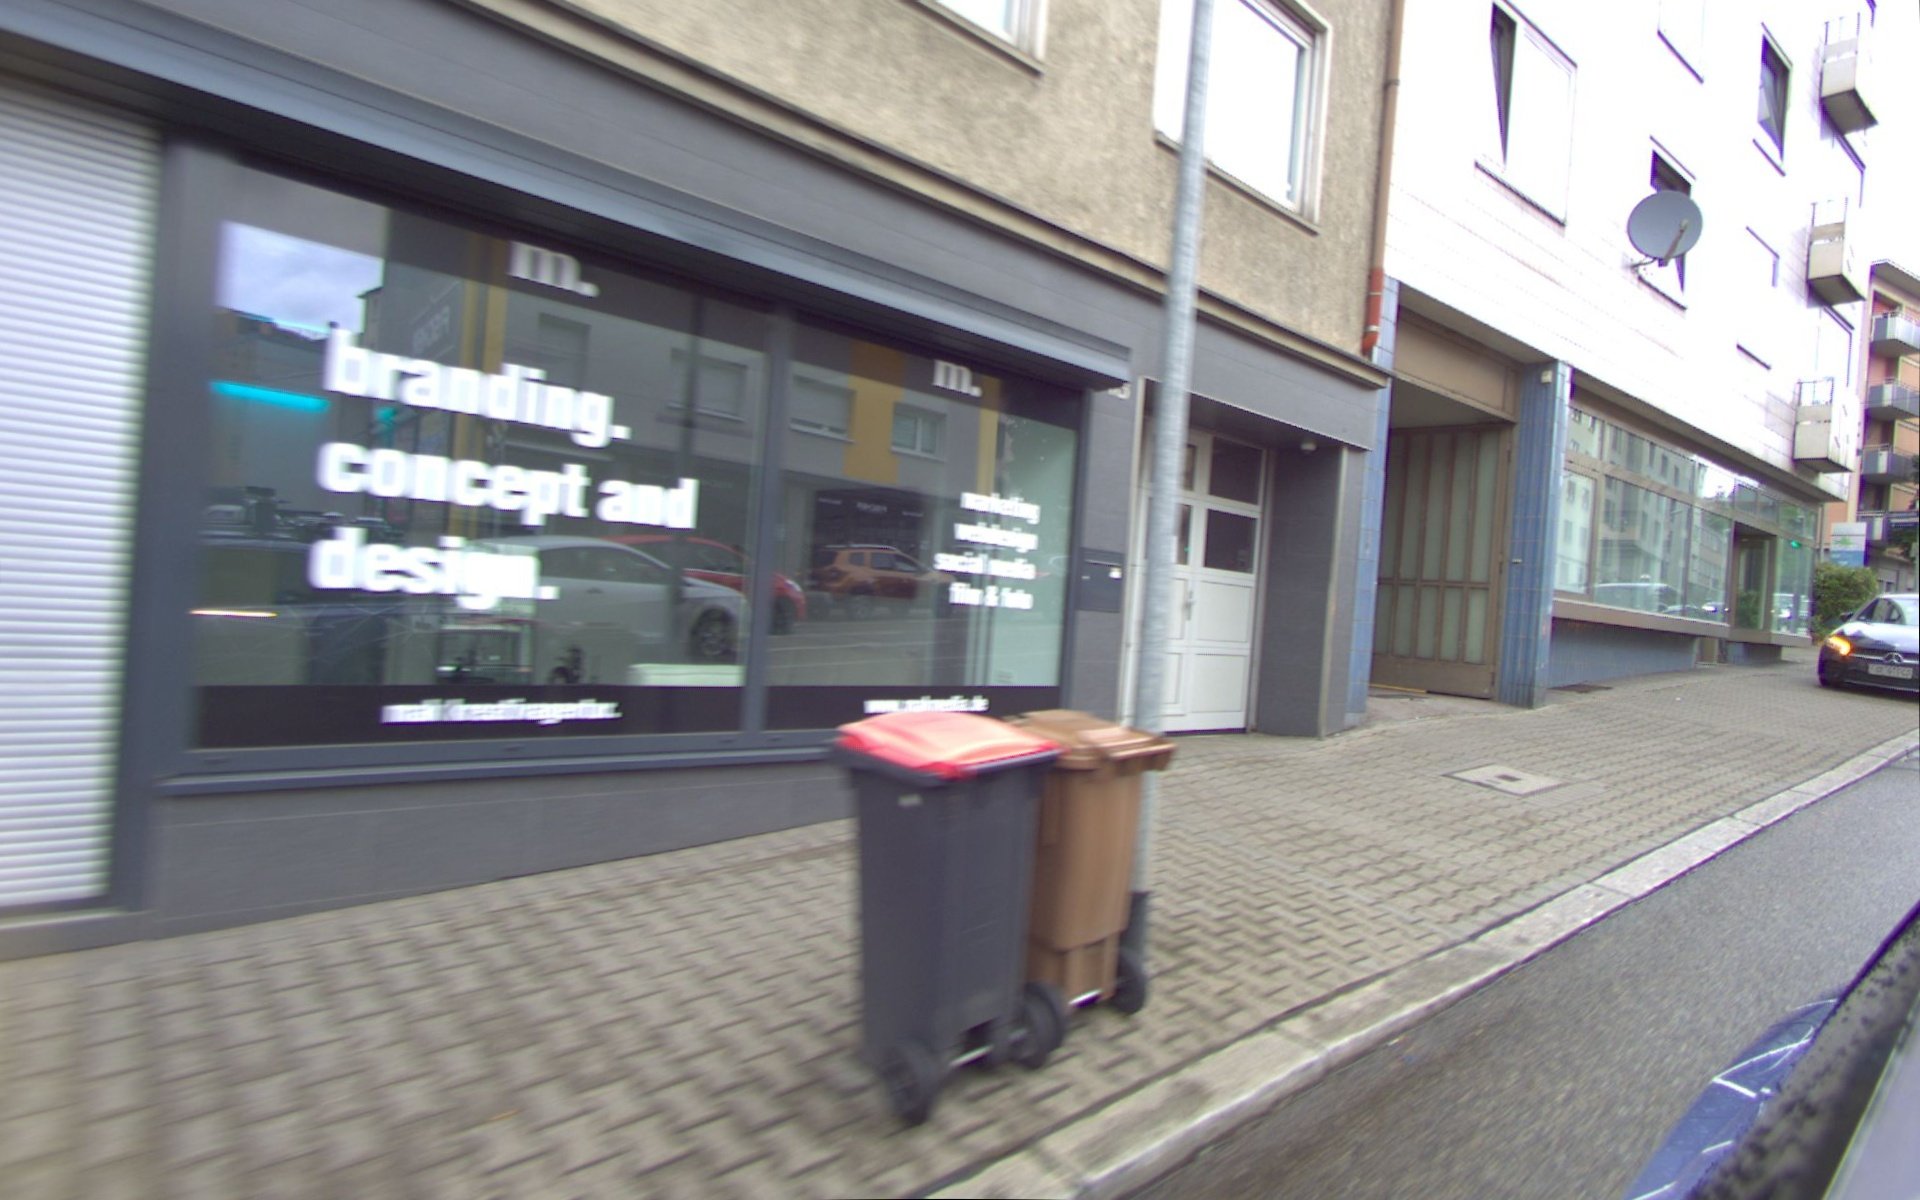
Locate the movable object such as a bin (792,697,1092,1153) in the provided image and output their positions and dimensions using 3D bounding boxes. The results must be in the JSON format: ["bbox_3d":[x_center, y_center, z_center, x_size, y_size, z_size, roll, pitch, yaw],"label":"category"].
[{"bbox_3d":[-0.053,0.789,2.715,0.527,0.993,0.526,5,-2,-38],"label":"movable object such as a bin"}]

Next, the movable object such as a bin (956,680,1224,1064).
[{"bbox_3d":[0.387,0.754,3.054,0.527,0.962,0.526,5,-2,-38],"label":"movable object such as a bin"}]

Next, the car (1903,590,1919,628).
[{"bbox_3d":[42.149,0.561,41.402,1.812,1.573,4.806,3,3,-27],"label":"car"}]

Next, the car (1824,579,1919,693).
[{"bbox_3d":[14.196,0.475,14.478,4.297,1.408,1.770,-1,5,-36],"label":"car"}]
